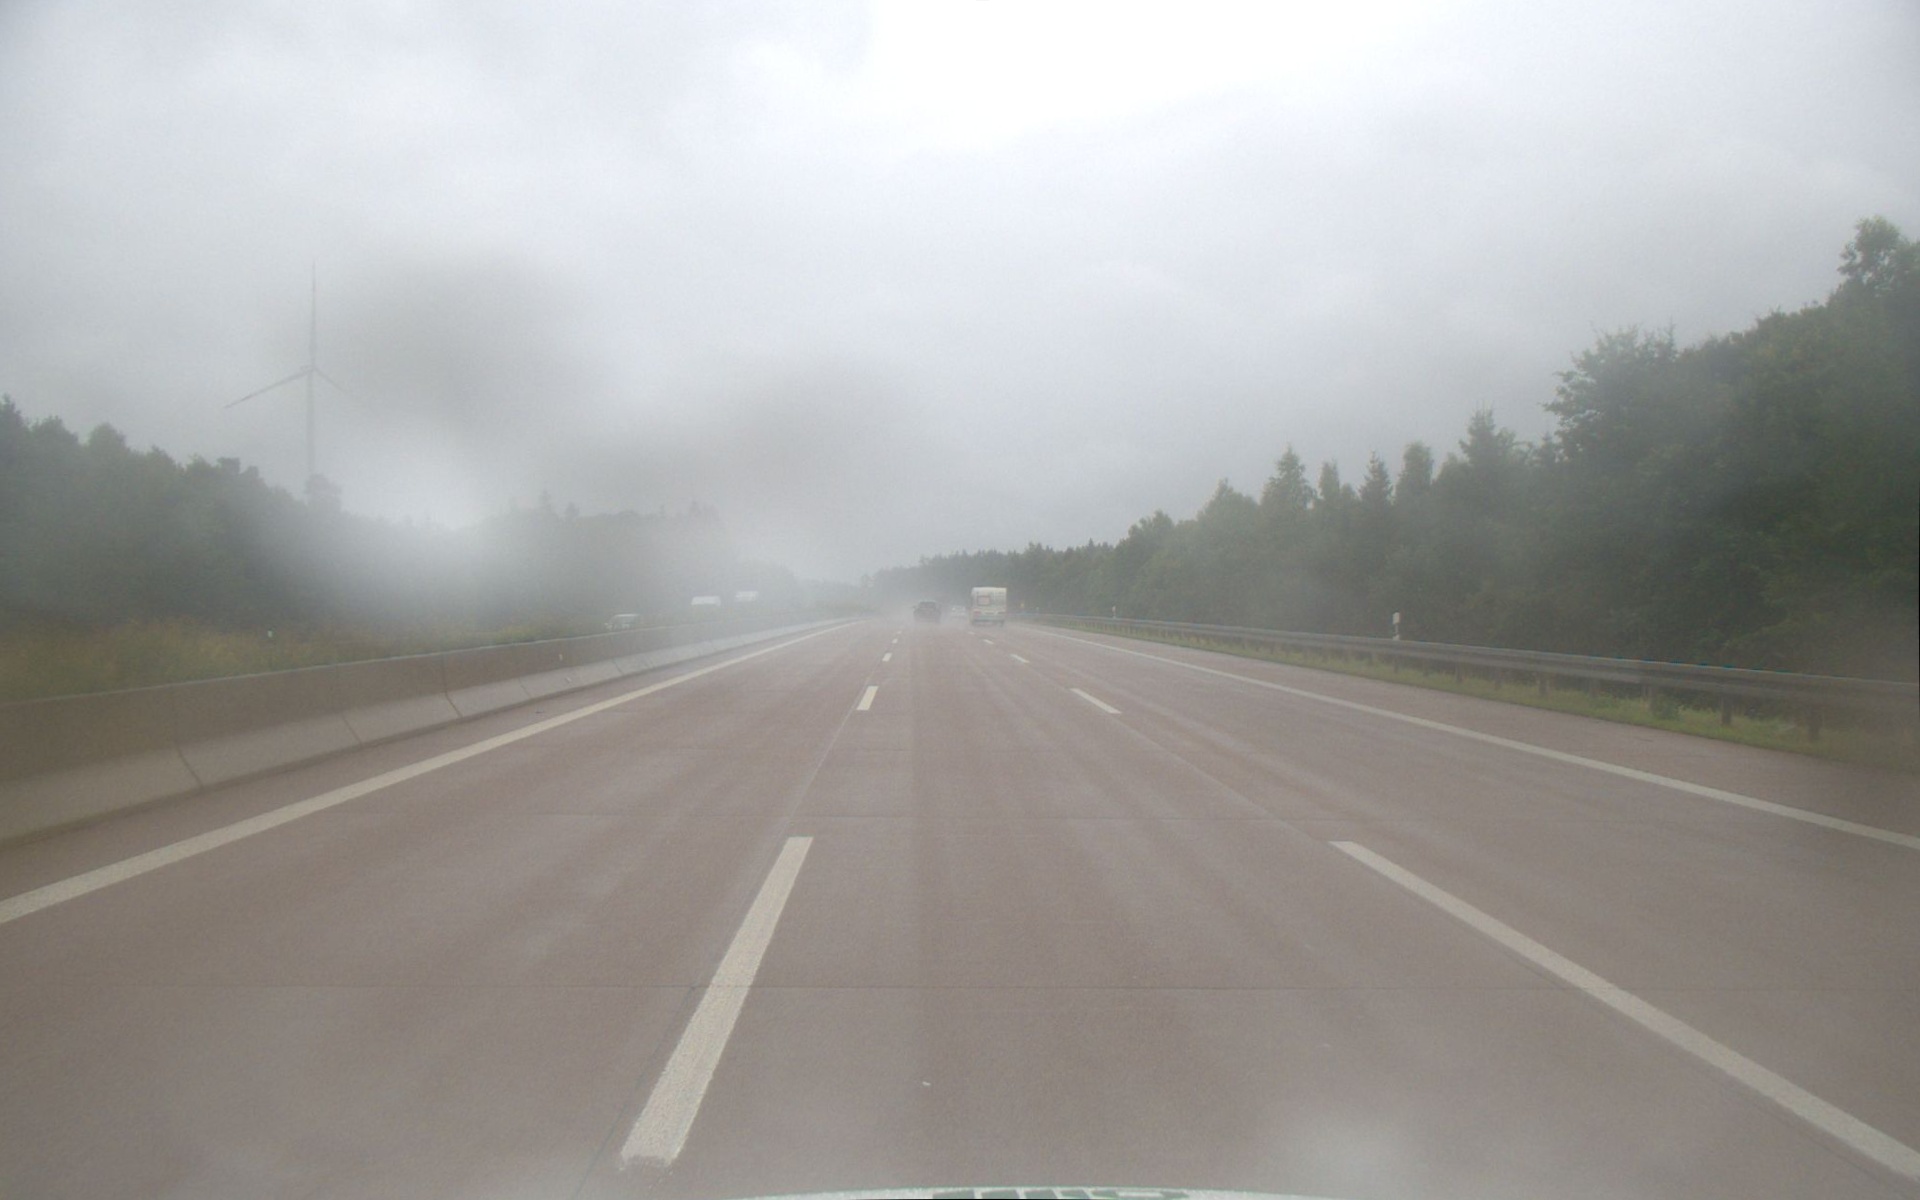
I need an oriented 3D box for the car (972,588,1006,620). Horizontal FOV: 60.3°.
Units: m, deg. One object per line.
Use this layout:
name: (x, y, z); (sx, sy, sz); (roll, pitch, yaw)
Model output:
car: (1.922, 0.256, 110.602); (2.016, 2.034, 4.098); (3, 0, -1)
